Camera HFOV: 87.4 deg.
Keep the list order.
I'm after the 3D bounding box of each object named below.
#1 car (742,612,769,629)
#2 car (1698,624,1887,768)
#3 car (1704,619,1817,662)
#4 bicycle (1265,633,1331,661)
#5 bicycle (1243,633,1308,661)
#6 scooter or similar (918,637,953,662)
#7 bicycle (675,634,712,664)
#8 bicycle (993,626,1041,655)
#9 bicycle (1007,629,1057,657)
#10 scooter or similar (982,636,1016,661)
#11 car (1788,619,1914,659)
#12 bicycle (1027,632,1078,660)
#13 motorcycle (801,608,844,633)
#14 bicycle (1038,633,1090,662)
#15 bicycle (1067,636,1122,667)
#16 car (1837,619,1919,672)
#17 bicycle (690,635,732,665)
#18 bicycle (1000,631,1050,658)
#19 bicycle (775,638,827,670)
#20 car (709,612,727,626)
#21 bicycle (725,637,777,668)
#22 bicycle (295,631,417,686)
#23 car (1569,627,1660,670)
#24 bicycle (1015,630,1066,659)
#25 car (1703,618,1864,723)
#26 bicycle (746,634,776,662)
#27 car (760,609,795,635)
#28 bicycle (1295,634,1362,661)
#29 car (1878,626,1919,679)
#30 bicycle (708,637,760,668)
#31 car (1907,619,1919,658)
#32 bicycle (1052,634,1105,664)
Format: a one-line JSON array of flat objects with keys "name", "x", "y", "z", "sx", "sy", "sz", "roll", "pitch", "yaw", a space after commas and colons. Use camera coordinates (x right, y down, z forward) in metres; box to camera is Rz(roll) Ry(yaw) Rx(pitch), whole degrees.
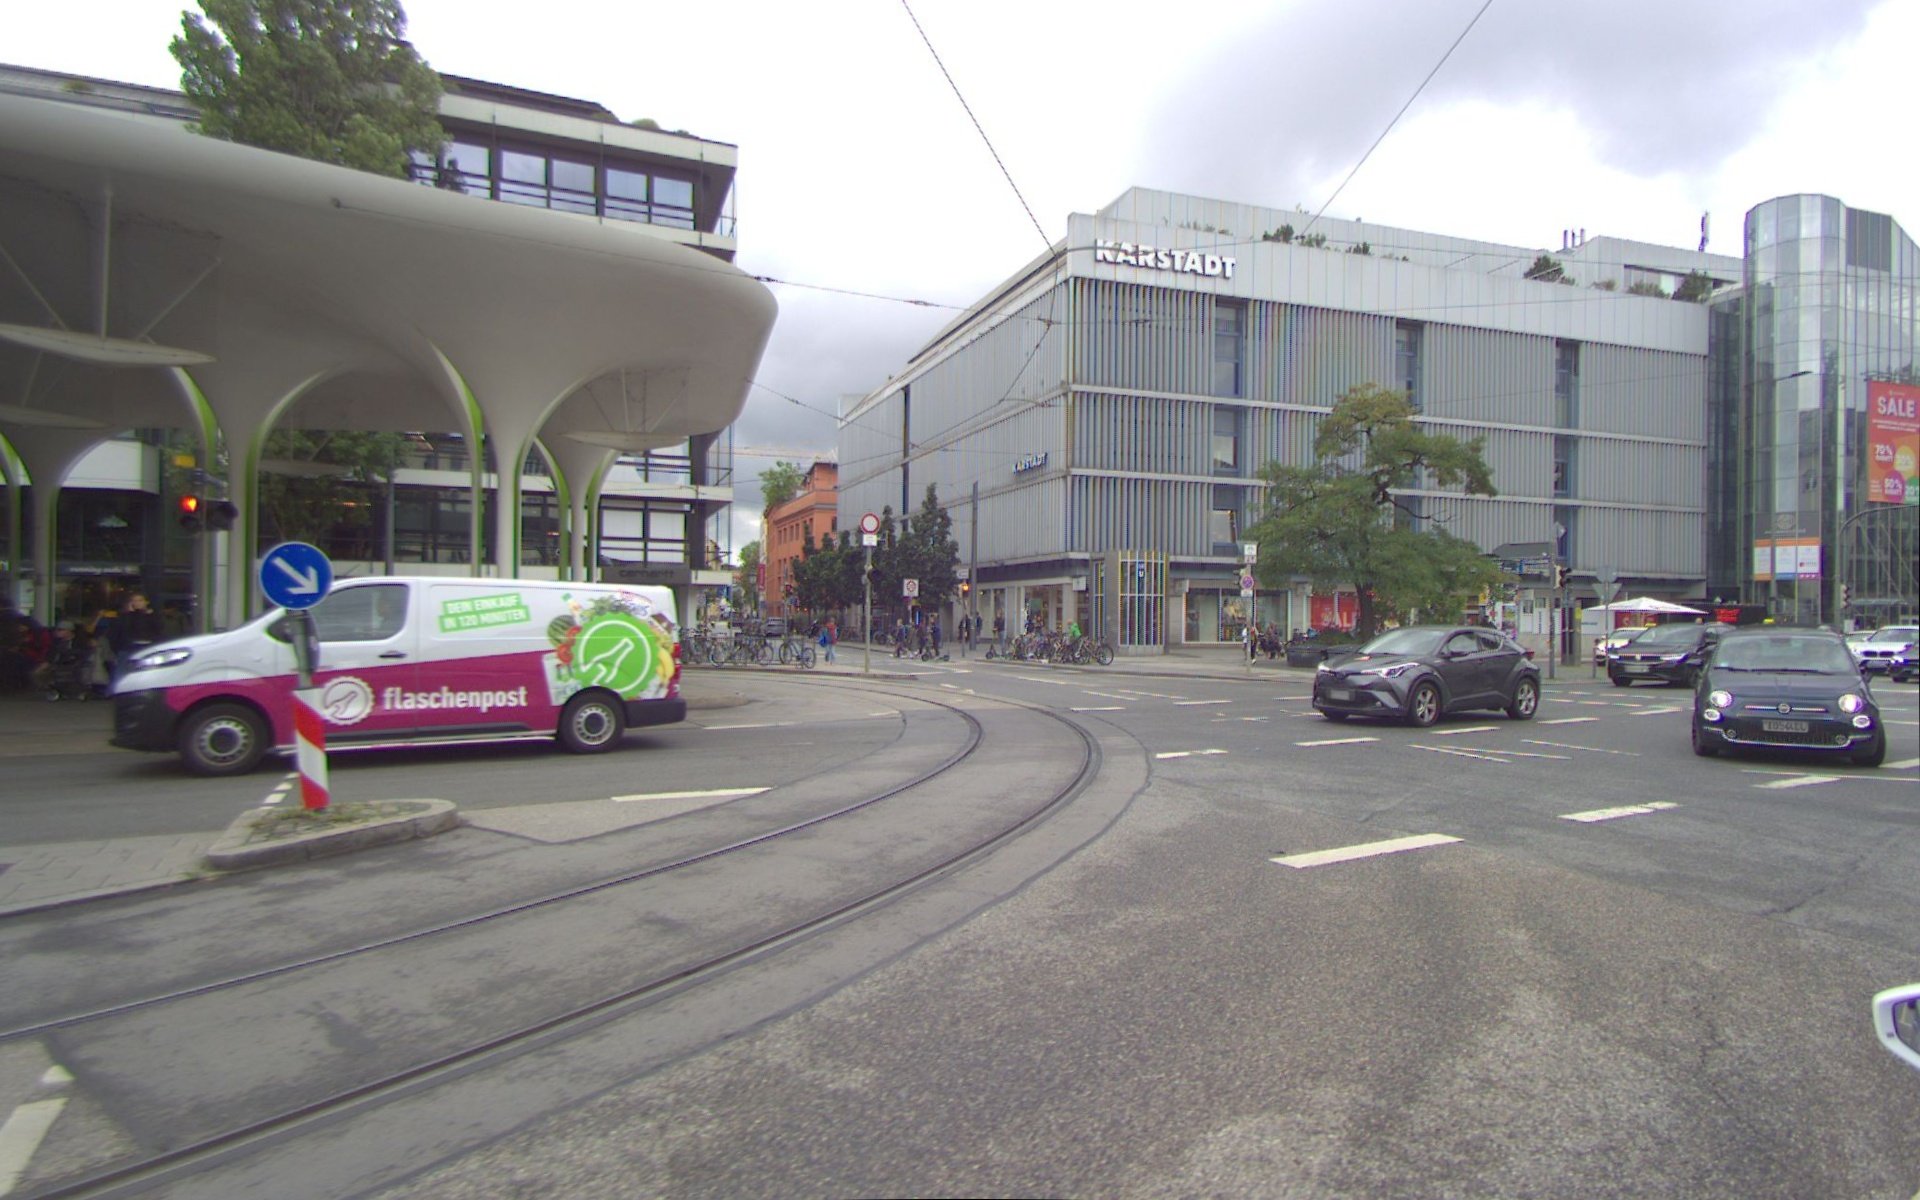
[{"name": "car", "x": -20.074, "y": 2.003, "z": 98.512, "sx": 1.970, "sy": 1.684, "sz": 3.981, "roll": 1, "pitch": -1, "yaw": -20}, {"name": "car", "x": 9.872, "y": 1.030, "z": 12.099, "sx": 1.526, "sy": 1.464, "sz": 3.526, "roll": -1, "pitch": -2, "yaw": 37}, {"name": "car", "x": 30.270, "y": 1.498, "z": 37.951, "sx": 4.340, "sy": 1.563, "sz": 1.892, "roll": 1, "pitch": -1, "yaw": -30}, {"name": "bicycle", "x": 15.532, "y": 2.148, "z": 46.296, "sx": 1.043, "sy": 1.172, "sz": 3.493, "roll": 1, "pitch": -1, "yaw": -17}, {"name": "bicycle", "x": 14.376, "y": 2.120, "z": 45.910, "sx": 1.043, "sy": 1.172, "sz": 3.493, "roll": 1, "pitch": -1, "yaw": -17}, {"name": "scooter or similar", "x": -0.986, "y": 2.016, "z": 40.933, "sx": 1.384, "sy": 0.995, "sz": 0.412, "roll": 1, "pitch": -1, "yaw": -23}, {"name": "bicycle", "x": -8.801, "y": 1.605, "z": 33.239, "sx": 0.446, "sy": 0.952, "sz": 1.732, "roll": 1, "pitch": -2, "yaw": 12}, {"name": "bicycle", "x": 2.293, "y": 1.618, "z": 39.999, "sx": 1.871, "sy": 1.126, "sz": 0.582, "roll": 3, "pitch": -2, "yaw": -30}, {"name": "bicycle", "x": 2.800, "y": 1.684, "z": 38.939, "sx": 1.963, "sy": 1.011, "sz": 0.524, "roll": 3, "pitch": -2, "yaw": -30}, {"name": "scooter or similar", "x": 1.610, "y": 1.998, "z": 41.359, "sx": 1.376, "sy": 0.995, "sz": 0.414, "roll": 0, "pitch": -1, "yaw": -1}, {"name": "car", "x": 36.446, "y": 1.582, "z": 41.083, "sx": 4.565, "sy": 1.528, "sz": 1.990, "roll": 1, "pitch": -1, "yaw": -21}, {"name": "bicycle", "x": 3.475, "y": 1.726, "z": 37.642, "sx": 1.963, "sy": 1.011, "sz": 0.524, "roll": 3, "pitch": -2, "yaw": -30}, {"name": "motorcycle", "x": -12.645, "y": 1.884, "z": 92.697, "sx": 3.860, "sy": 2.189, "sz": 1.173, "roll": 1, "pitch": -1, "yaw": -7}, {"name": "bicycle", "x": 3.830, "y": 1.748, "z": 36.945, "sx": 1.963, "sy": 1.011, "sz": 0.524, "roll": 3, "pitch": -2, "yaw": -30}, {"name": "bicycle", "x": 4.691, "y": 1.807, "z": 34.923, "sx": 1.963, "sy": 1.011, "sz": 0.524, "roll": 3, "pitch": -2, "yaw": -30}, {"name": "car", "x": 30.211, "y": 1.437, "z": 32.505, "sx": 3.955, "sy": 1.617, "sz": 1.690, "roll": 1, "pitch": -1, "yaw": -32}, {"name": "bicycle", "x": -8.184, "y": 1.626, "z": 33.065, "sx": 0.446, "sy": 0.952, "sz": 1.731, "roll": 1, "pitch": -2, "yaw": 19}, {"name": "bicycle", "x": 2.553, "y": 1.762, "z": 39.519, "sx": 1.963, "sy": 1.011, "sz": 0.524, "roll": 3, "pitch": -2, "yaw": -30}, {"name": "bicycle", "x": -4.943, "y": 1.672, "z": 31.249, "sx": 0.448, "sy": 0.952, "sz": 1.723, "roll": 0, "pitch": -2, "yaw": 39}, {"name": "car", "x": -32.207, "y": 2.559, "z": 133.652, "sx": 1.932, "sy": 1.774, "sz": 3.981, "roll": 1, "pitch": -1, "yaw": -21}, {"name": "bicycle", "x": -6.709, "y": 1.696, "z": 32.333, "sx": 0.448, "sy": 0.952, "sz": 1.723, "roll": 0, "pitch": -2, "yaw": 40}, {"name": "bicycle", "x": -12.862, "y": 1.241, "z": 21.464, "sx": 2.133, "sy": 1.139, "sz": 0.640, "roll": 1, "pitch": -1, "yaw": -21}, {"name": "car", "x": 25.267, "y": 1.818, "z": 38.742, "sx": 4.384, "sy": 1.556, "sz": 1.975, "roll": 1, "pitch": -2, "yaw": -44}, {"name": "bicycle", "x": 3.101, "y": 1.702, "z": 38.425, "sx": 1.963, "sy": 1.011, "sz": 0.524, "roll": 3, "pitch": -2, "yaw": -30}, {"name": "car", "x": 13.524, "y": 1.100, "z": 16.464, "sx": 2.813, "sy": 1.555, "sz": 1.491, "roll": 1, "pitch": -2, "yaw": -39}, {"name": "bicycle", "x": -7.983, "y": 1.903, "z": 40.385, "sx": 0.421, "sy": 1.088, "sz": 1.635, "roll": 0, "pitch": -1, "yaw": 18}, {"name": "car", "x": -15.281, "y": 1.813, "z": 83.926, "sx": 2.142, "sy": 2.087, "sz": 3.981, "roll": 1, "pitch": -1, "yaw": -21}, {"name": "bicycle", "x": 17.143, "y": 2.187, "z": 46.828, "sx": 1.043, "sy": 1.172, "sz": 3.493, "roll": 1, "pitch": -1, "yaw": -17}, {"name": "car", "x": 27.631, "y": 1.439, "z": 28.024, "sx": 4.122, "sy": 1.430, "sz": 1.983, "roll": 1, "pitch": -1, "yaw": -32}, {"name": "bicycle", "x": -7.262, "y": 1.679, "z": 32.367, "sx": 0.448, "sy": 0.952, "sz": 1.724, "roll": 0, "pitch": -2, "yaw": 38}, {"name": "car", "x": 43.662, "y": 1.680, "z": 43.620, "sx": 4.116, "sy": 1.701, "sz": 1.993, "roll": 1, "pitch": -1, "yaw": -18}, {"name": "bicycle", "x": 4.249, "y": 1.776, "z": 36.005, "sx": 1.963, "sy": 1.011, "sz": 0.524, "roll": 3, "pitch": -2, "yaw": -30}]
